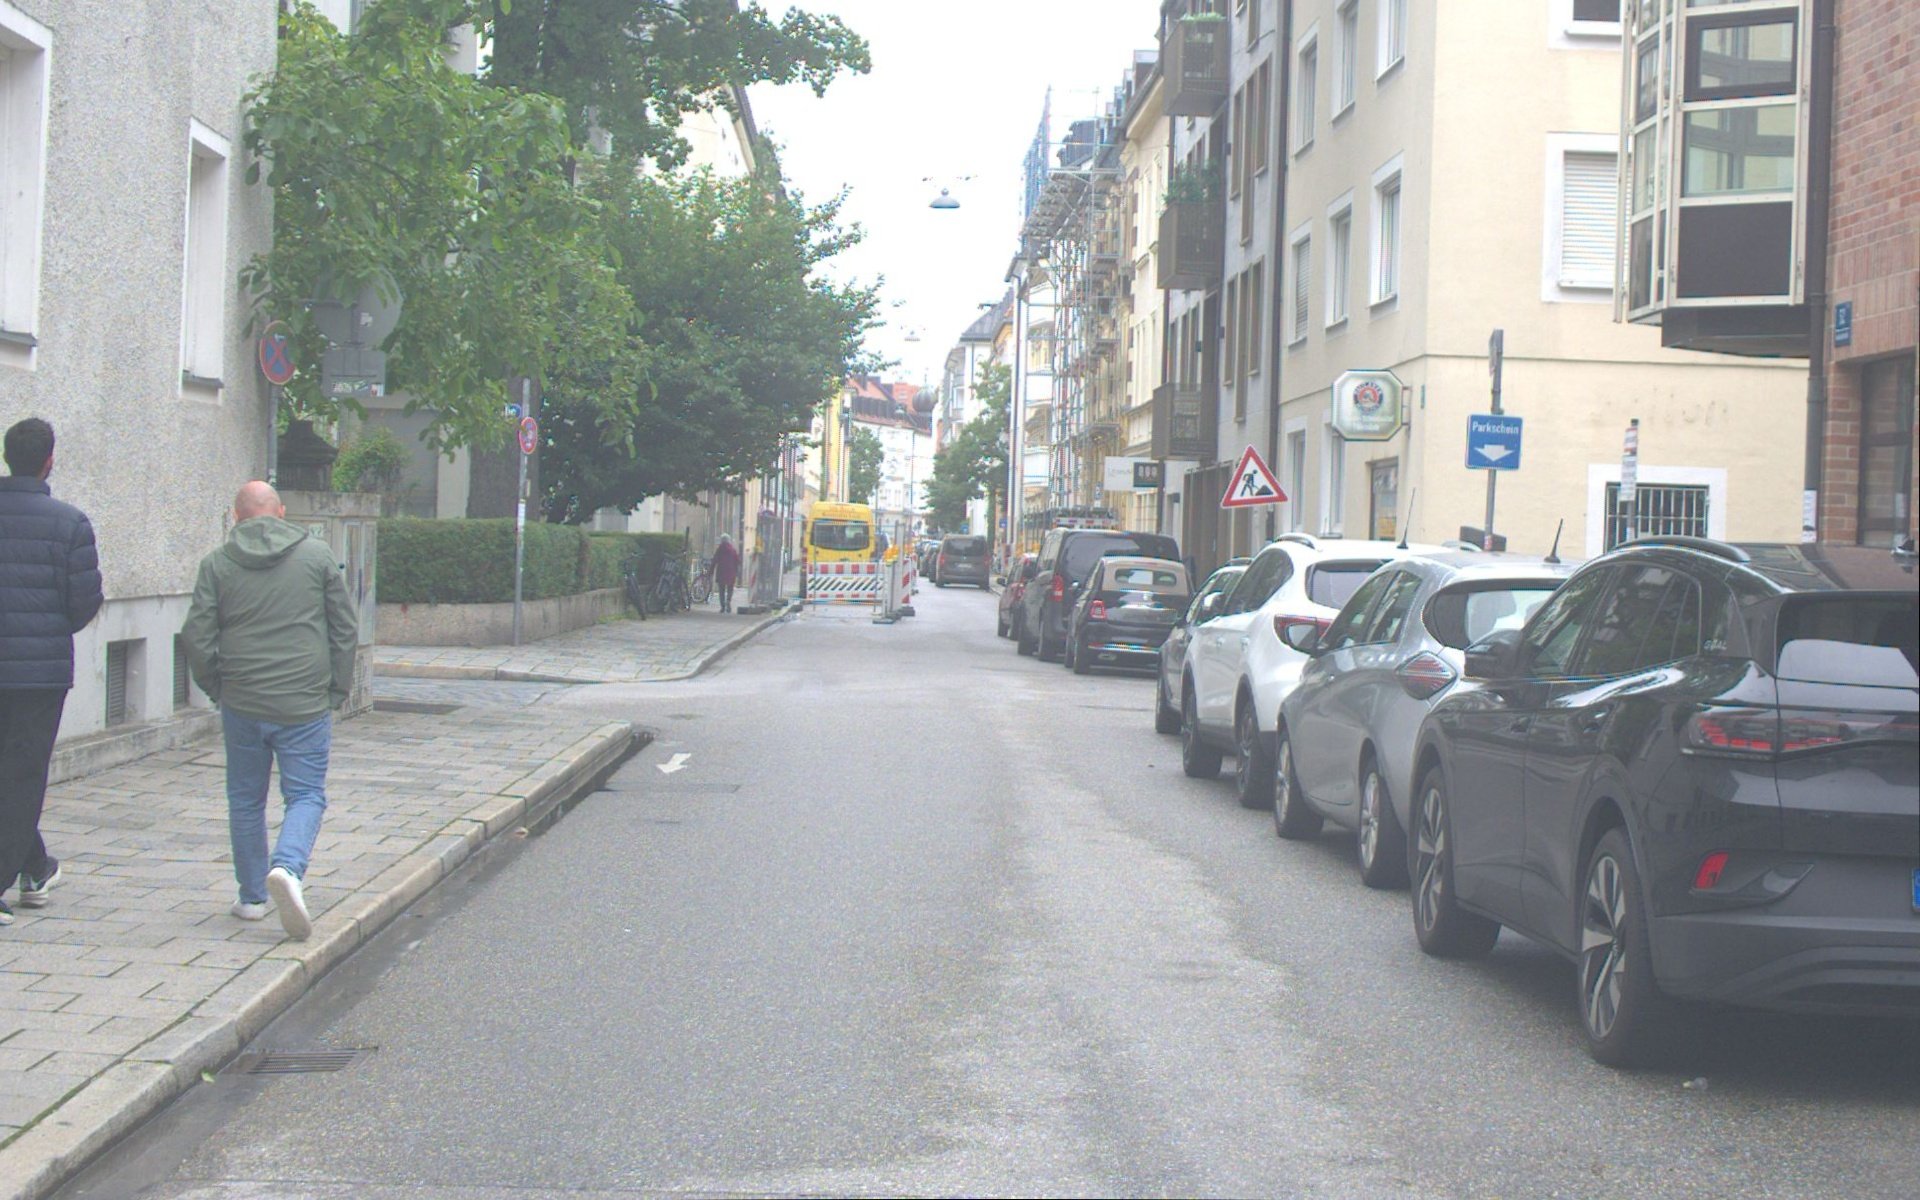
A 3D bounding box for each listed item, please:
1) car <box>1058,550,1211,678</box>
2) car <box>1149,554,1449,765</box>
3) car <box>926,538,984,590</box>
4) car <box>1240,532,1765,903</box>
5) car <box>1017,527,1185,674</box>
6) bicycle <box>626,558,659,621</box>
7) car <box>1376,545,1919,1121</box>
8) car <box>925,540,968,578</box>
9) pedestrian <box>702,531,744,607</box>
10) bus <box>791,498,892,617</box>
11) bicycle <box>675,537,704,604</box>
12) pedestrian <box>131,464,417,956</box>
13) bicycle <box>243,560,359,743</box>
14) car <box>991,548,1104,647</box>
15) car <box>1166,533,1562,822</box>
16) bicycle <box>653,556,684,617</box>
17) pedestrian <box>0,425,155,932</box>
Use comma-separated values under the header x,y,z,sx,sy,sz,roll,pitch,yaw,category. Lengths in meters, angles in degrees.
x,y,z,sx,sy,sz,roll,pitch,yaw,category
2.183,0.140,43.798,1.624,1.482,3.808,3,1,-1,car
2.571,0.407,26.970,1.744,1.440,4.001,2,1,-2,car
-0.192,-1.331,125.938,1.801,1.706,3.827,5,1,-3,car
2.579,0.509,17.251,1.721,1.630,3.882,1,0,-4,car
1.925,-0.030,48.154,1.801,1.814,4.001,5,1,-3,car
-5.195,-0.180,56.295,0.414,1.017,1.854,1,0,-2,bicycle
2.771,0.633,11.679,1.885,1.550,4.392,2,1,-3,car
-0.603,-1.834,154.210,1.801,1.608,4.000,2,1,-1,car
-4.730,-0.621,68.680,0.756,1.486,0.831,1,0,-1,pedestrian
-3.186,-1.155,93.798,2.592,3.091,6.306,1,0,-1,bus
-5.869,-0.637,74.627,0.514,1.413,1.934,1,0,-2,bicycle
-2.443,0.376,12.333,0.753,1.653,0.906,4,0,-1,pedestrian
-4.313,0.315,22.424,0.473,1.107,1.761,2,1,-18,bicycle
1.499,-0.071,60.034,1.635,1.509,3.829,5,1,-2,car
2.453,0.412,21.890,1.748,1.624,4.197,1,1,-4,car
-5.237,-0.252,61.832,0.446,1.069,2.468,1,0,-3,bicycle
-3.285,0.257,12.123,0.612,1.707,0.823,4,0,-2,pedestrian
